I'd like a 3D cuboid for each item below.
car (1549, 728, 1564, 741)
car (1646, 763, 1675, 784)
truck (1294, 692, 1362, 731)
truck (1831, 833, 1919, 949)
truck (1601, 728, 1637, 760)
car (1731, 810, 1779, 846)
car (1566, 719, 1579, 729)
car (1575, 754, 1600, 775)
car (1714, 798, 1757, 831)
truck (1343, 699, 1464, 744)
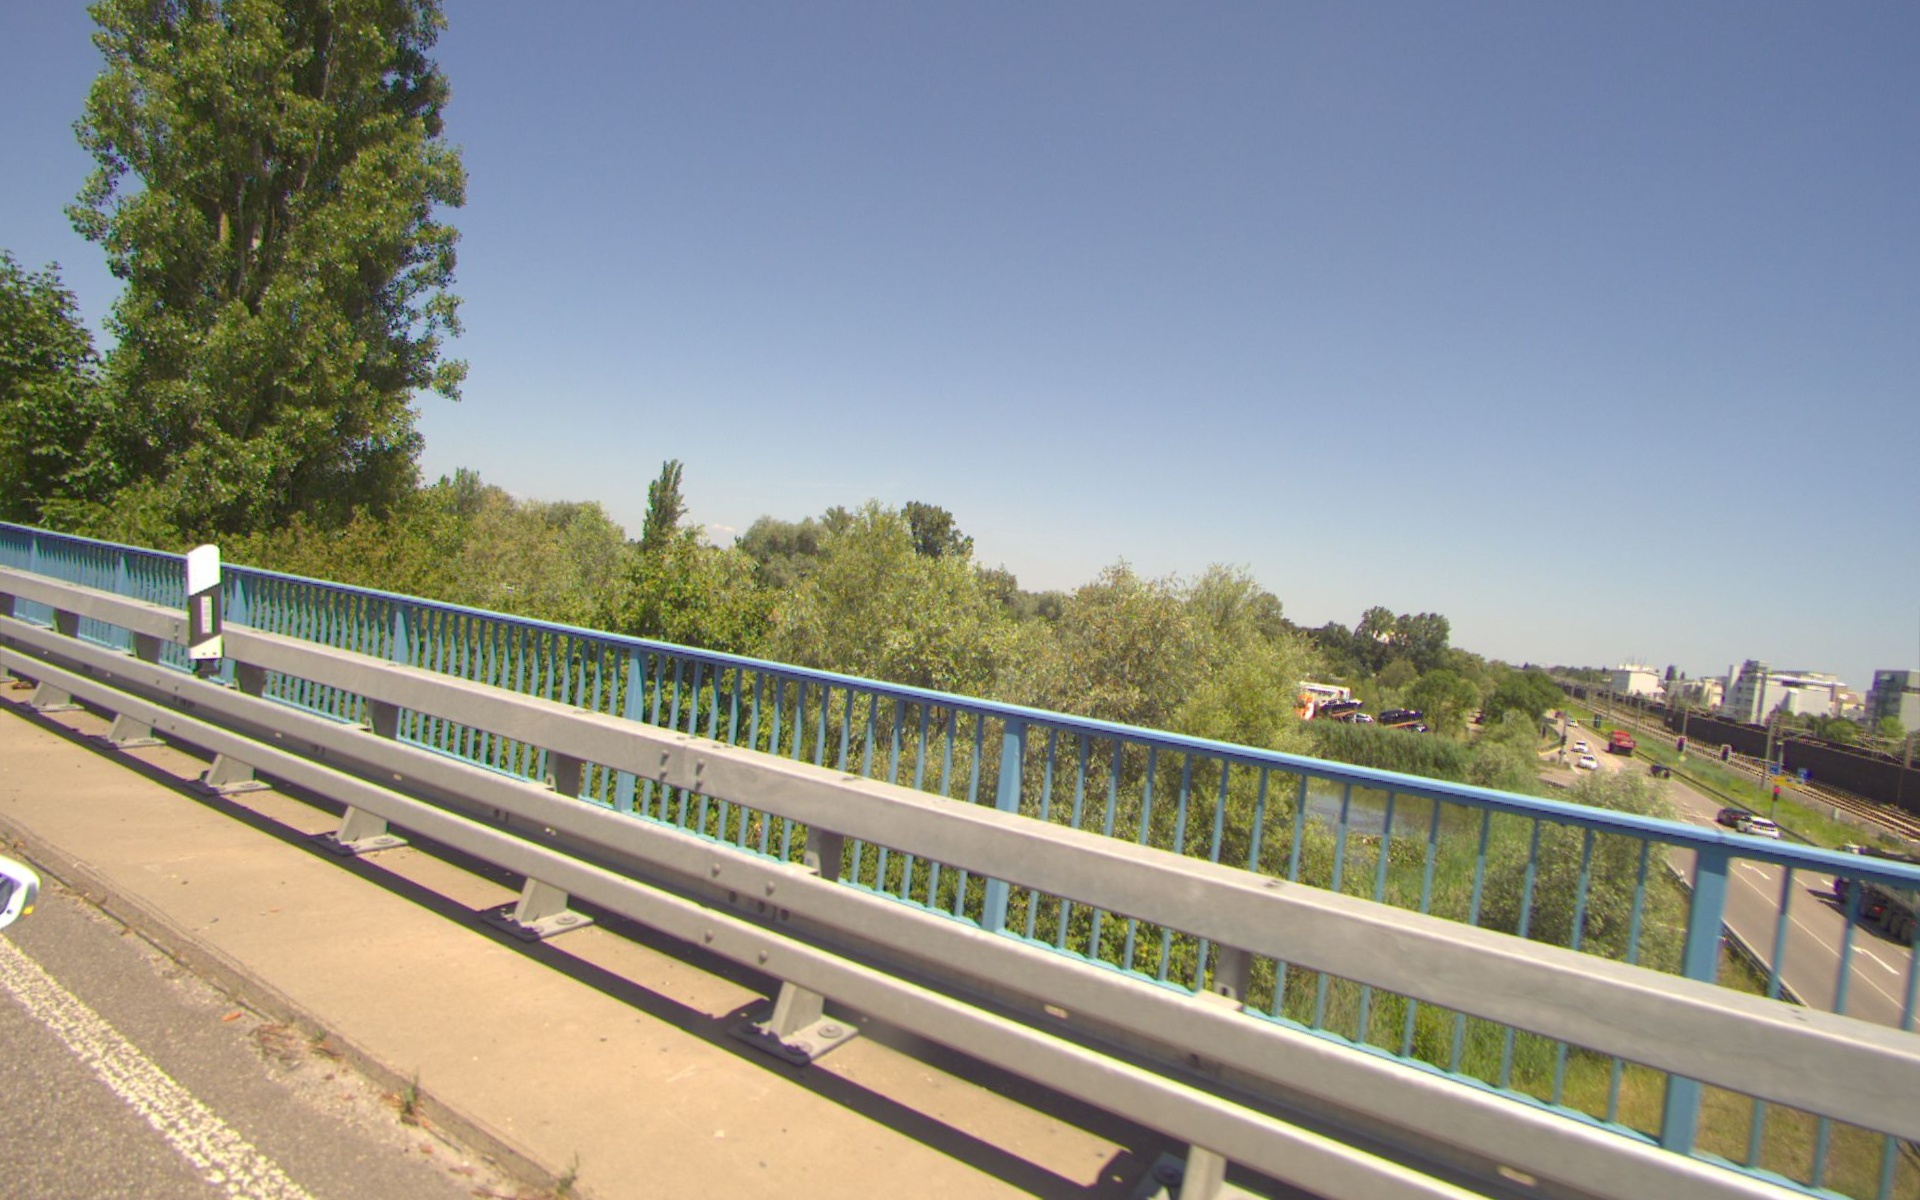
[{"bbox_3d":[101.827,22.858,171.665,1.966,1.638,4.235,10,1,31],"label":"car"},{"bbox_3d":[82.073,20.297,117.898,1.965,1.638,4.238,9,1,28],"label":"car"},{"bbox_3d":[41.493,12.585,113.615,6.695,3.398,2.001,7,0,17],"label":"truck"},{"bbox_3d":[47.324,14.560,50.303,2.826,3.467,11.920,9,1,29],"label":"truck"},{"bbox_3d":[99.113,21.608,151.441,2.825,3.467,10.975,9,1,27],"label":"truck"},{"bbox_3d":[59.332,16.975,75.152,1.966,1.638,4.236,9,1,30],"label":"car"},{"bbox_3d":[130.770,26.423,214.684,1.966,1.638,4.236,9,1,30],"label":"car"},{"bbox_3d":[69.605,18.252,111.630,1.966,1.638,4.235,10,1,31],"label":"car"},{"bbox_3d":[62.651,17.295,81.318,1.966,1.638,4.236,9,1,30],"label":"car"},{"bbox_3d":[49.451,13.522,112.329,12.228,3.398,2.000,7,0,1],"label":"truck"}]
